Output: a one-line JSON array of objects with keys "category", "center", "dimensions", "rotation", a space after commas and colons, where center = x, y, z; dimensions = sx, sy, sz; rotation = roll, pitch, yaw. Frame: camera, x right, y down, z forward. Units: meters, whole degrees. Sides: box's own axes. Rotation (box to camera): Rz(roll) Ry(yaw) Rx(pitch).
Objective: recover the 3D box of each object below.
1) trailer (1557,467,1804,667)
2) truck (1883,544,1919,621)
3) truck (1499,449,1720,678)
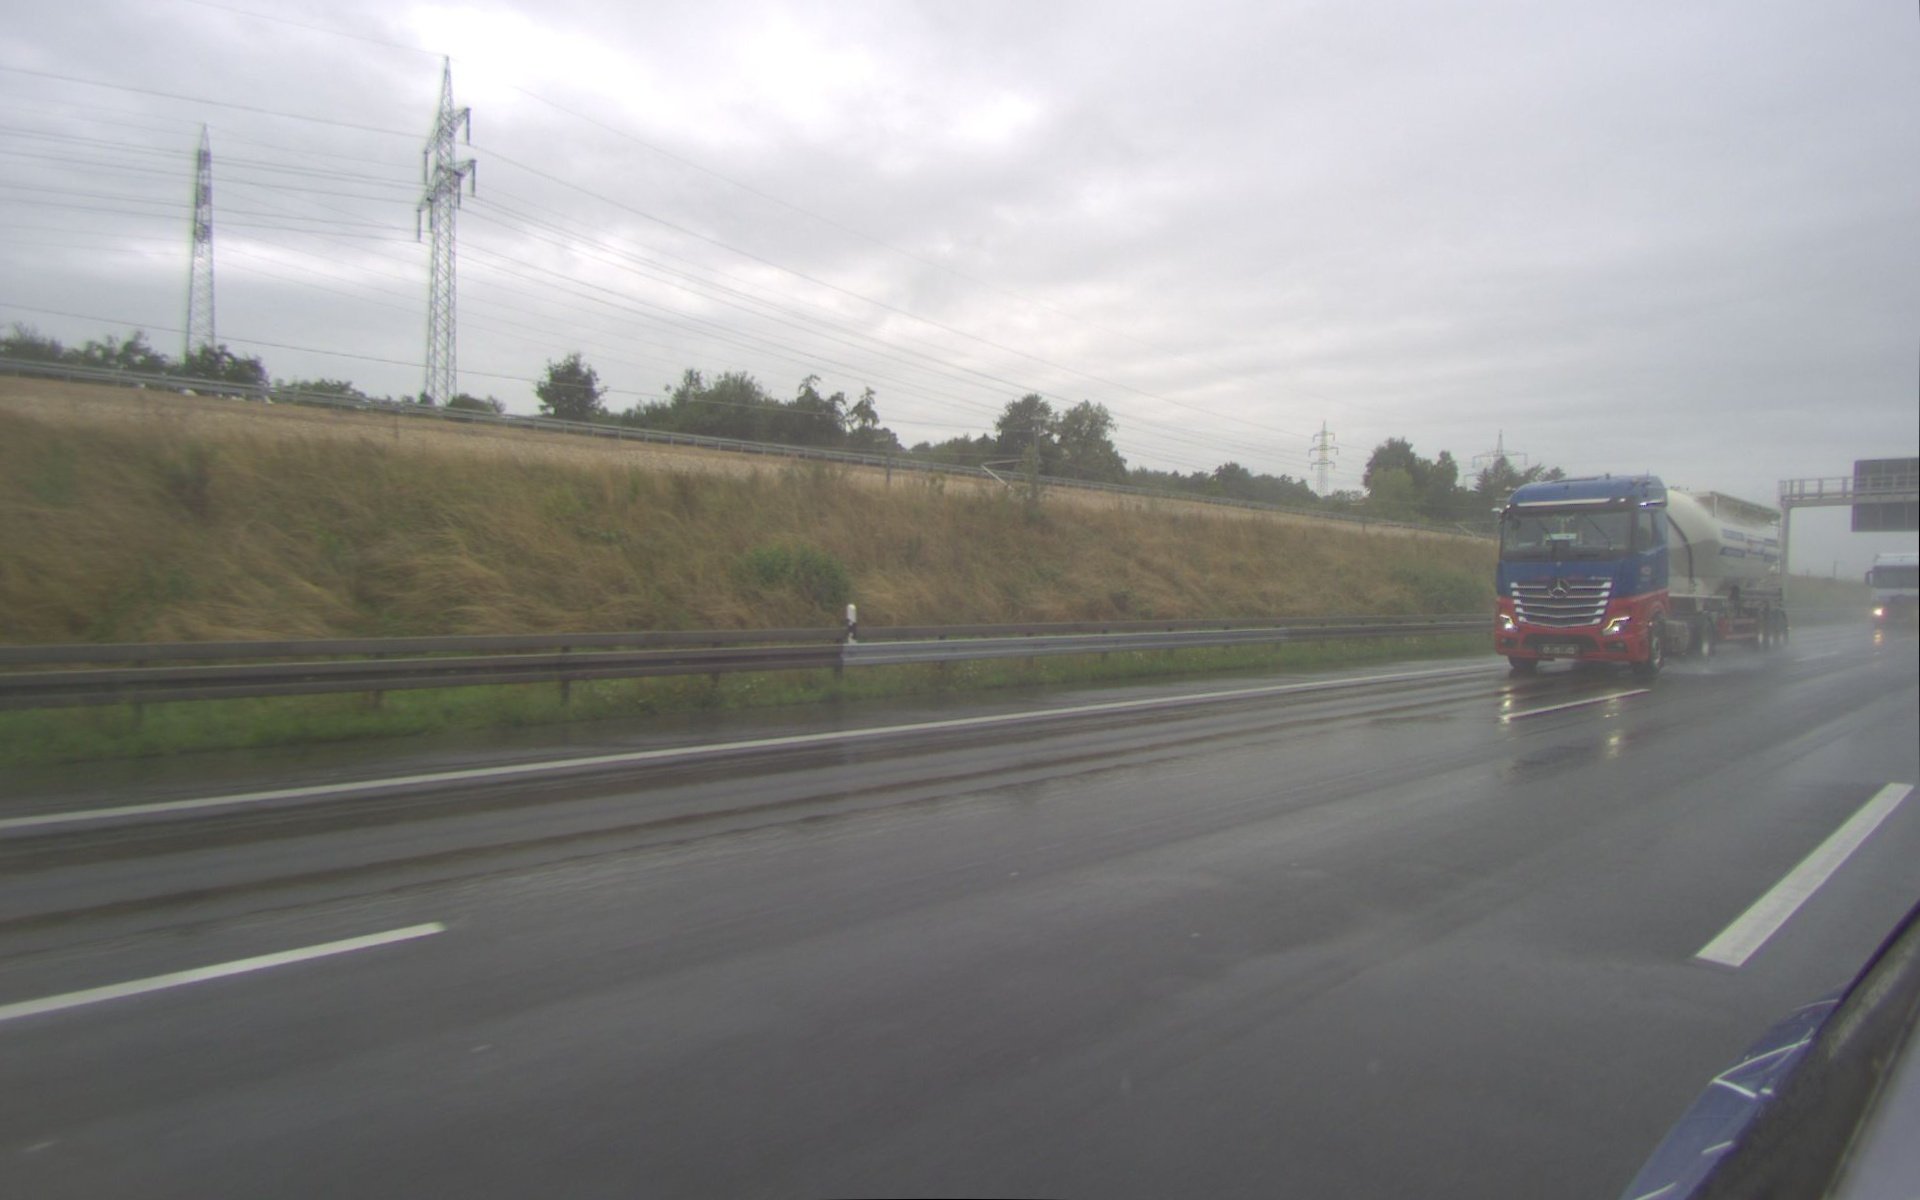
[{"category": "trailer", "center": [17.701, -0.574, 24.397], "dimensions": [10.873, 3.932, 2.501], "rotation": [1, -1, -42]}, {"category": "truck", "center": [51.216, -0.871, 53.819], "dimensions": [6.089, 3.939, 2.456], "rotation": [1, -1, -41]}, {"category": "truck", "center": [13.156, -0.616, 20.377], "dimensions": [4.987, 4.034, 2.500], "rotation": [1, -1, -42]}]
